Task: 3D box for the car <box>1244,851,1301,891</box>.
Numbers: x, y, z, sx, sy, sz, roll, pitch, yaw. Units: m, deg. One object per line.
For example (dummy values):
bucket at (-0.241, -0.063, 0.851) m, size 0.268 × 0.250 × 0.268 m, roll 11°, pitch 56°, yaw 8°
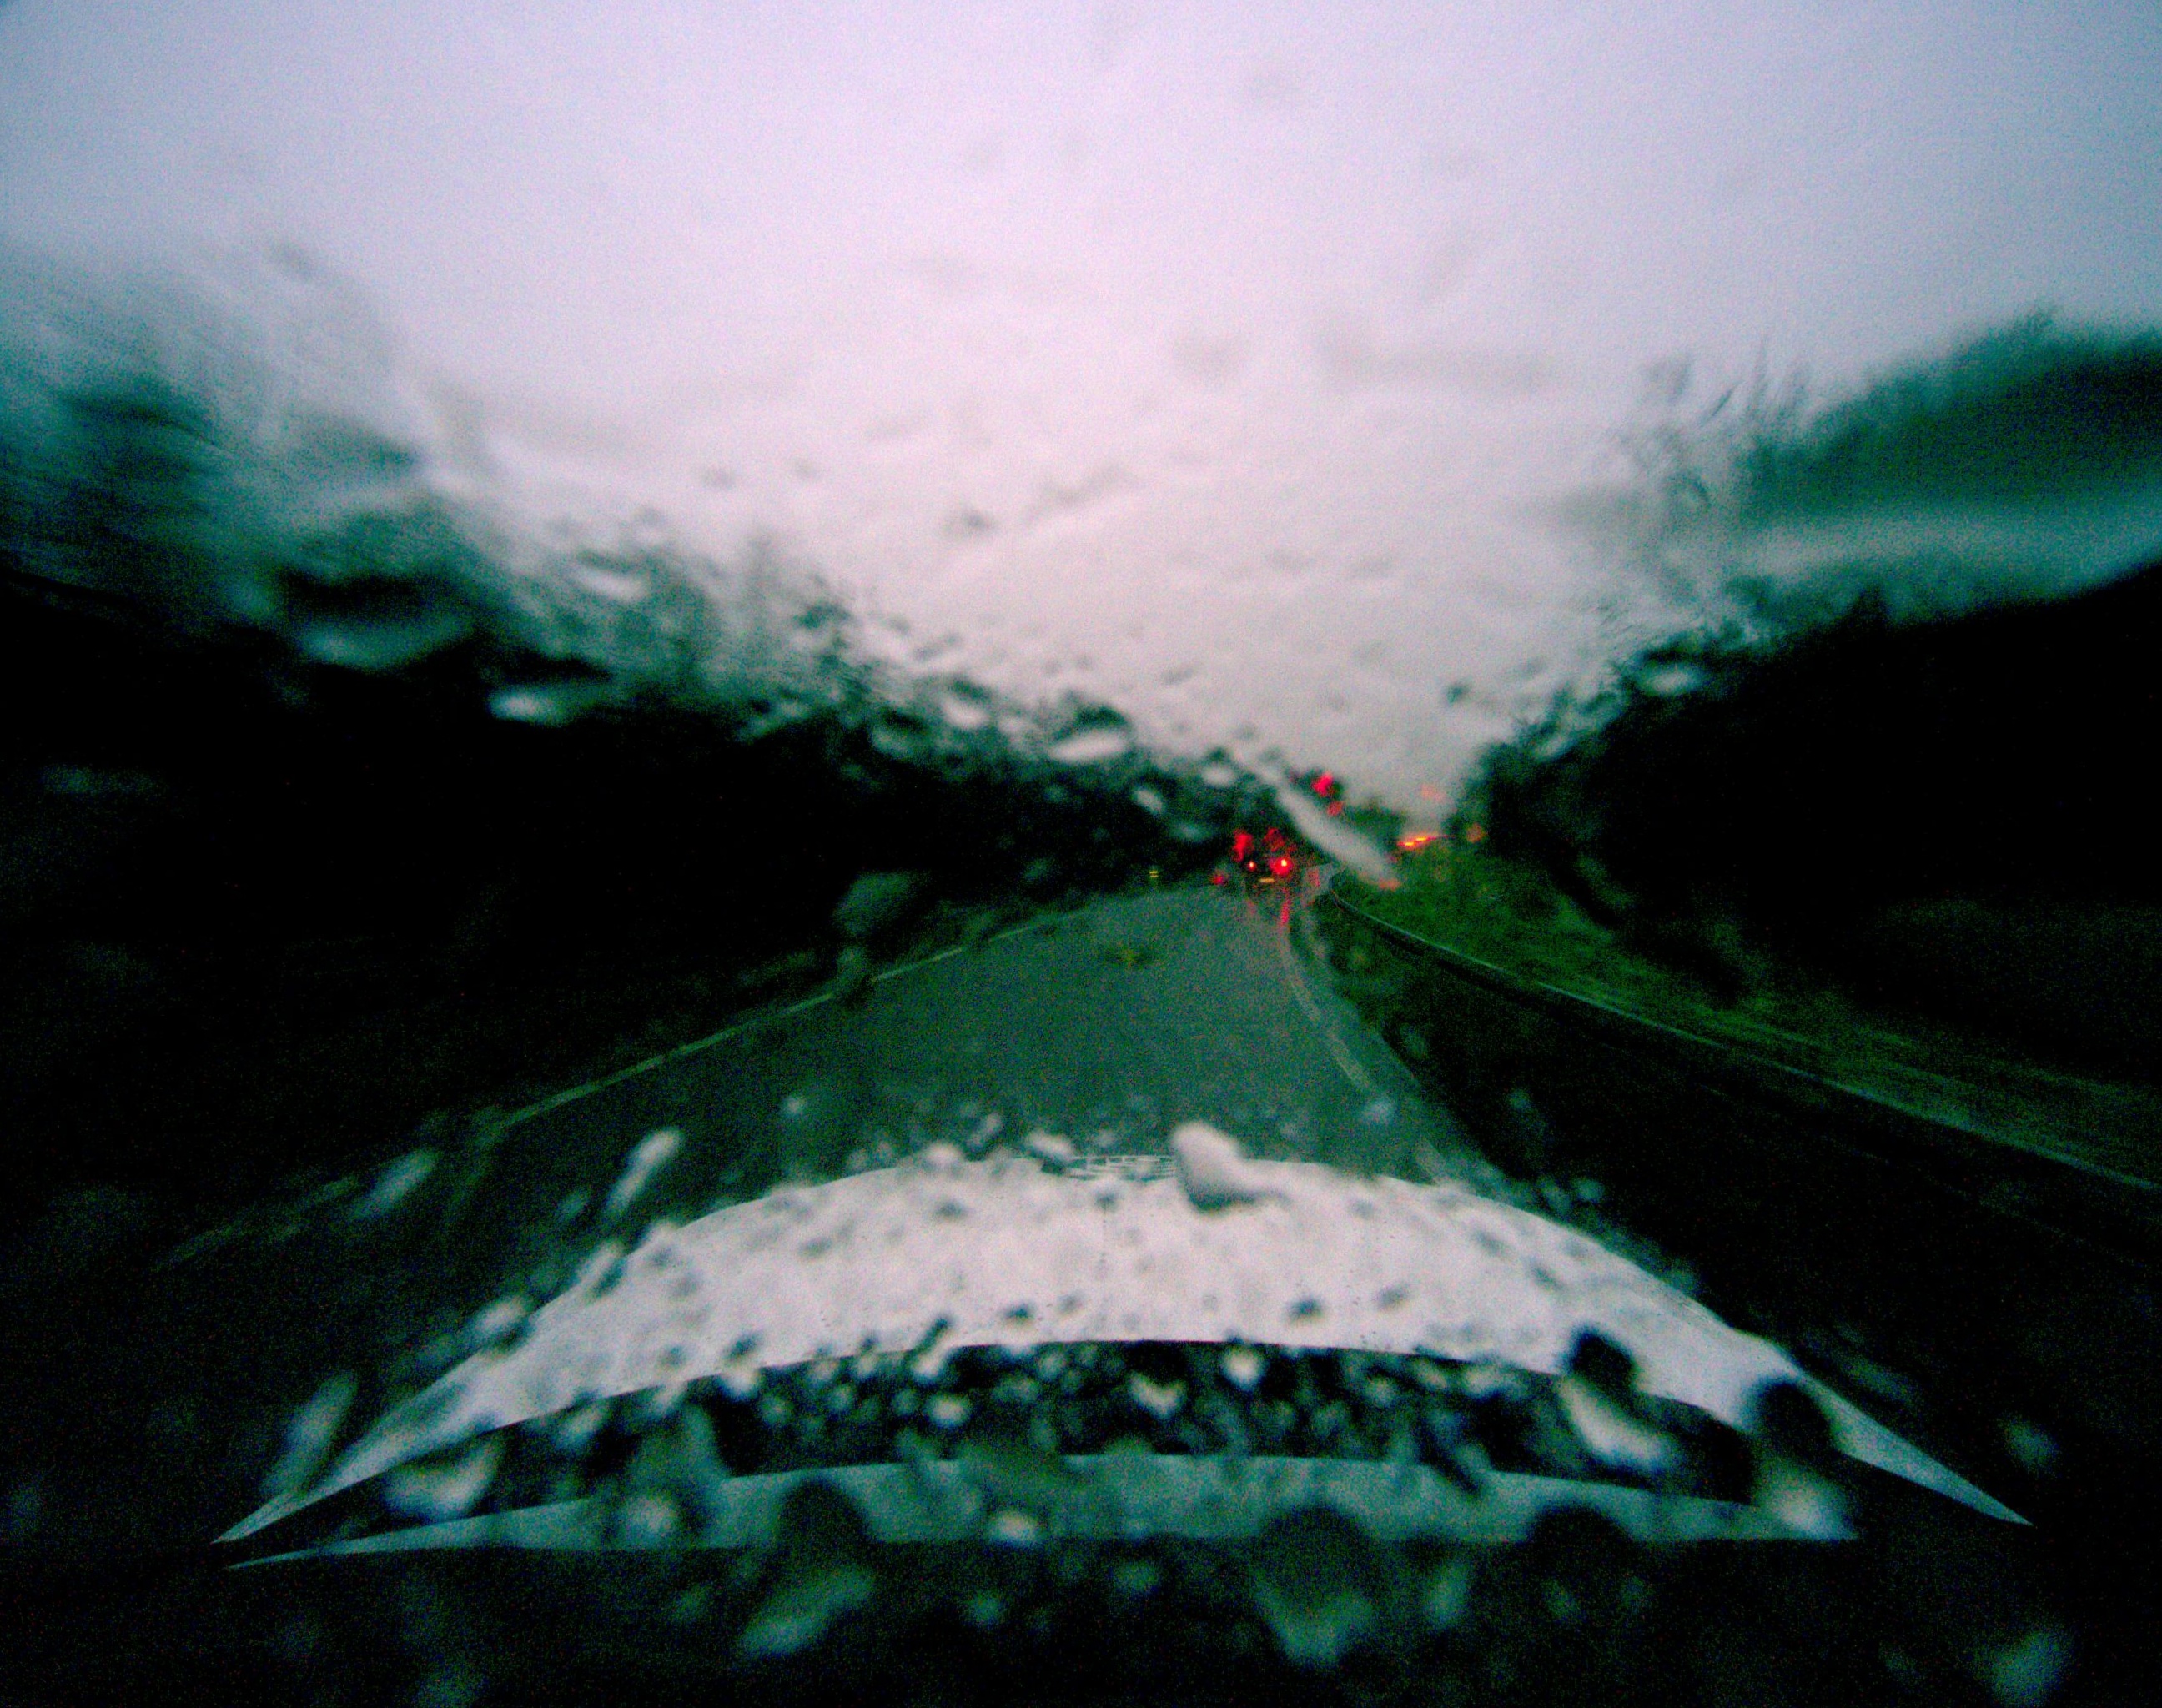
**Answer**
car at (7.356, 0.588, 31.122) m, size 1.718 × 1.429 × 3.784 m, roll 0°, pitch 0°, yaw 19°
